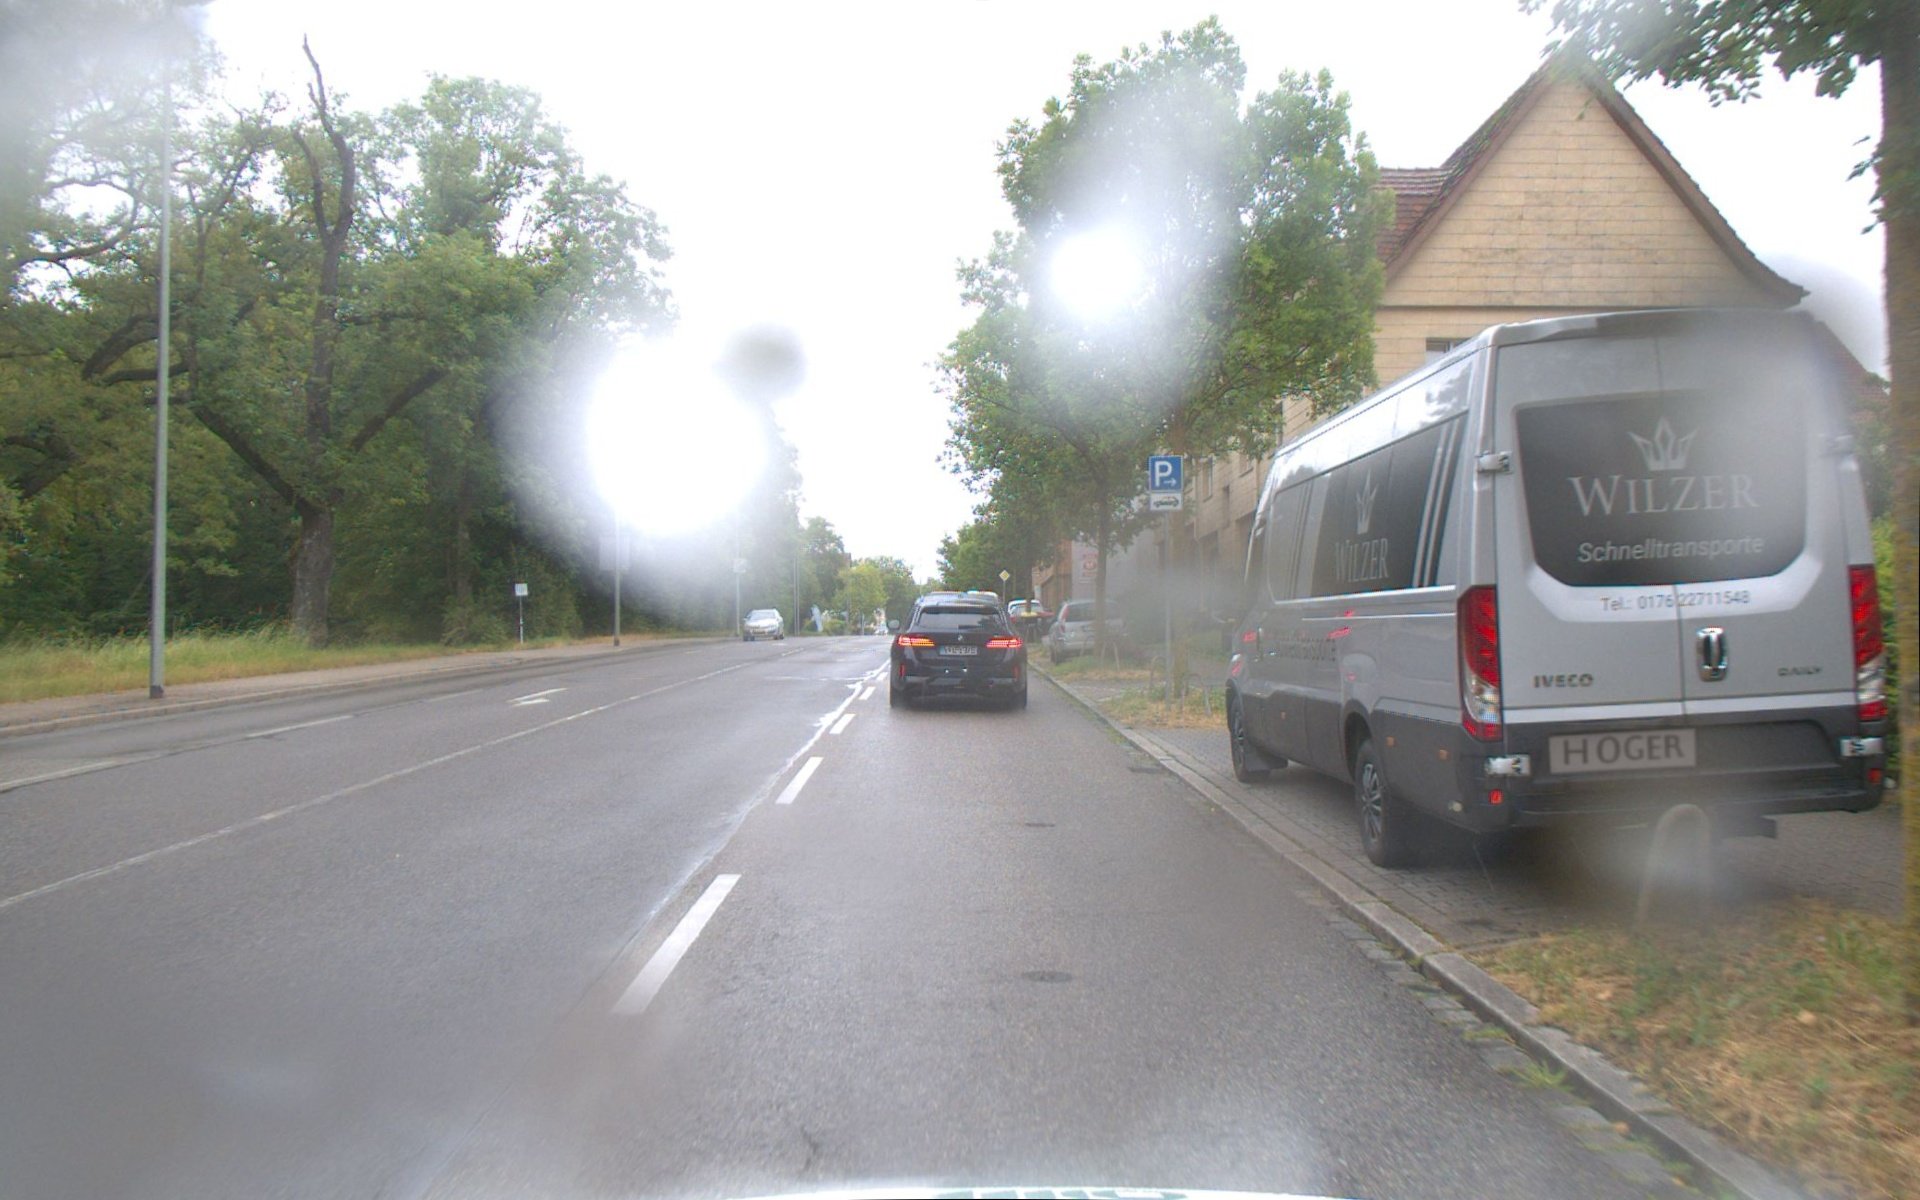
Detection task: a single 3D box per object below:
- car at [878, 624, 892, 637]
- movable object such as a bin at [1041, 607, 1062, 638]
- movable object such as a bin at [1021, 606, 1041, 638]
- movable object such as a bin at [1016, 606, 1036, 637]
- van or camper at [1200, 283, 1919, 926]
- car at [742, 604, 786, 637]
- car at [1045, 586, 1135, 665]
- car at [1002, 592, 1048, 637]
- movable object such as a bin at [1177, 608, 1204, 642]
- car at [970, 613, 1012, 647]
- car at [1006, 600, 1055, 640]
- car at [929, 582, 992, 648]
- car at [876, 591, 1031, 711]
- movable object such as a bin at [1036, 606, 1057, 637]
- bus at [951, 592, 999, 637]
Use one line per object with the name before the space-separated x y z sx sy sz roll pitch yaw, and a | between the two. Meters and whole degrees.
car | -10.219 4.165 225.989 1.734 1.560 3.999 -2 0 0
movable object such as a bin | 3.228 0.785 58.674 0.607 1.068 0.822 -3 0 -3
movable object such as a bin | 2.511 0.773 58.682 0.607 1.068 0.822 -3 0 -3
movable object such as a bin | 2.381 0.765 59.579 0.607 1.068 0.822 -3 0 -3
van or camper | 3.221 -0.017 10.791 2.153 2.697 7.301 -2 0 0
car | -9.392 0.976 79.526 1.656 1.508 4.450 -2 0 -2
car | 2.984 0.551 38.699 1.667 1.611 4.643 -4 0 0
car | 2.714 0.613 70.255 1.786 1.803 4.541 -1 0 0
movable object such as a bin | 6.952 0.742 49.909 0.686 0.982 0.941 1 0 0
car | 1.904 1.831 101.257 1.886 1.925 4.764 -4 -2 8
car | 2.725 0.773 64.406 1.608 1.474 3.996 -1 -1 -2
car | 0.019 0.476 53.289 1.953 2.049 3.999 0 -1 0
car | -0.118 0.673 23.414 1.953 1.478 3.999 2 0 -1
movable object such as a bin | 3.105 0.777 59.595 0.607 1.068 0.822 -3 0 -3
bus | 1.064 0.968 112.854 2.568 2.897 8.293 -2 0 5
